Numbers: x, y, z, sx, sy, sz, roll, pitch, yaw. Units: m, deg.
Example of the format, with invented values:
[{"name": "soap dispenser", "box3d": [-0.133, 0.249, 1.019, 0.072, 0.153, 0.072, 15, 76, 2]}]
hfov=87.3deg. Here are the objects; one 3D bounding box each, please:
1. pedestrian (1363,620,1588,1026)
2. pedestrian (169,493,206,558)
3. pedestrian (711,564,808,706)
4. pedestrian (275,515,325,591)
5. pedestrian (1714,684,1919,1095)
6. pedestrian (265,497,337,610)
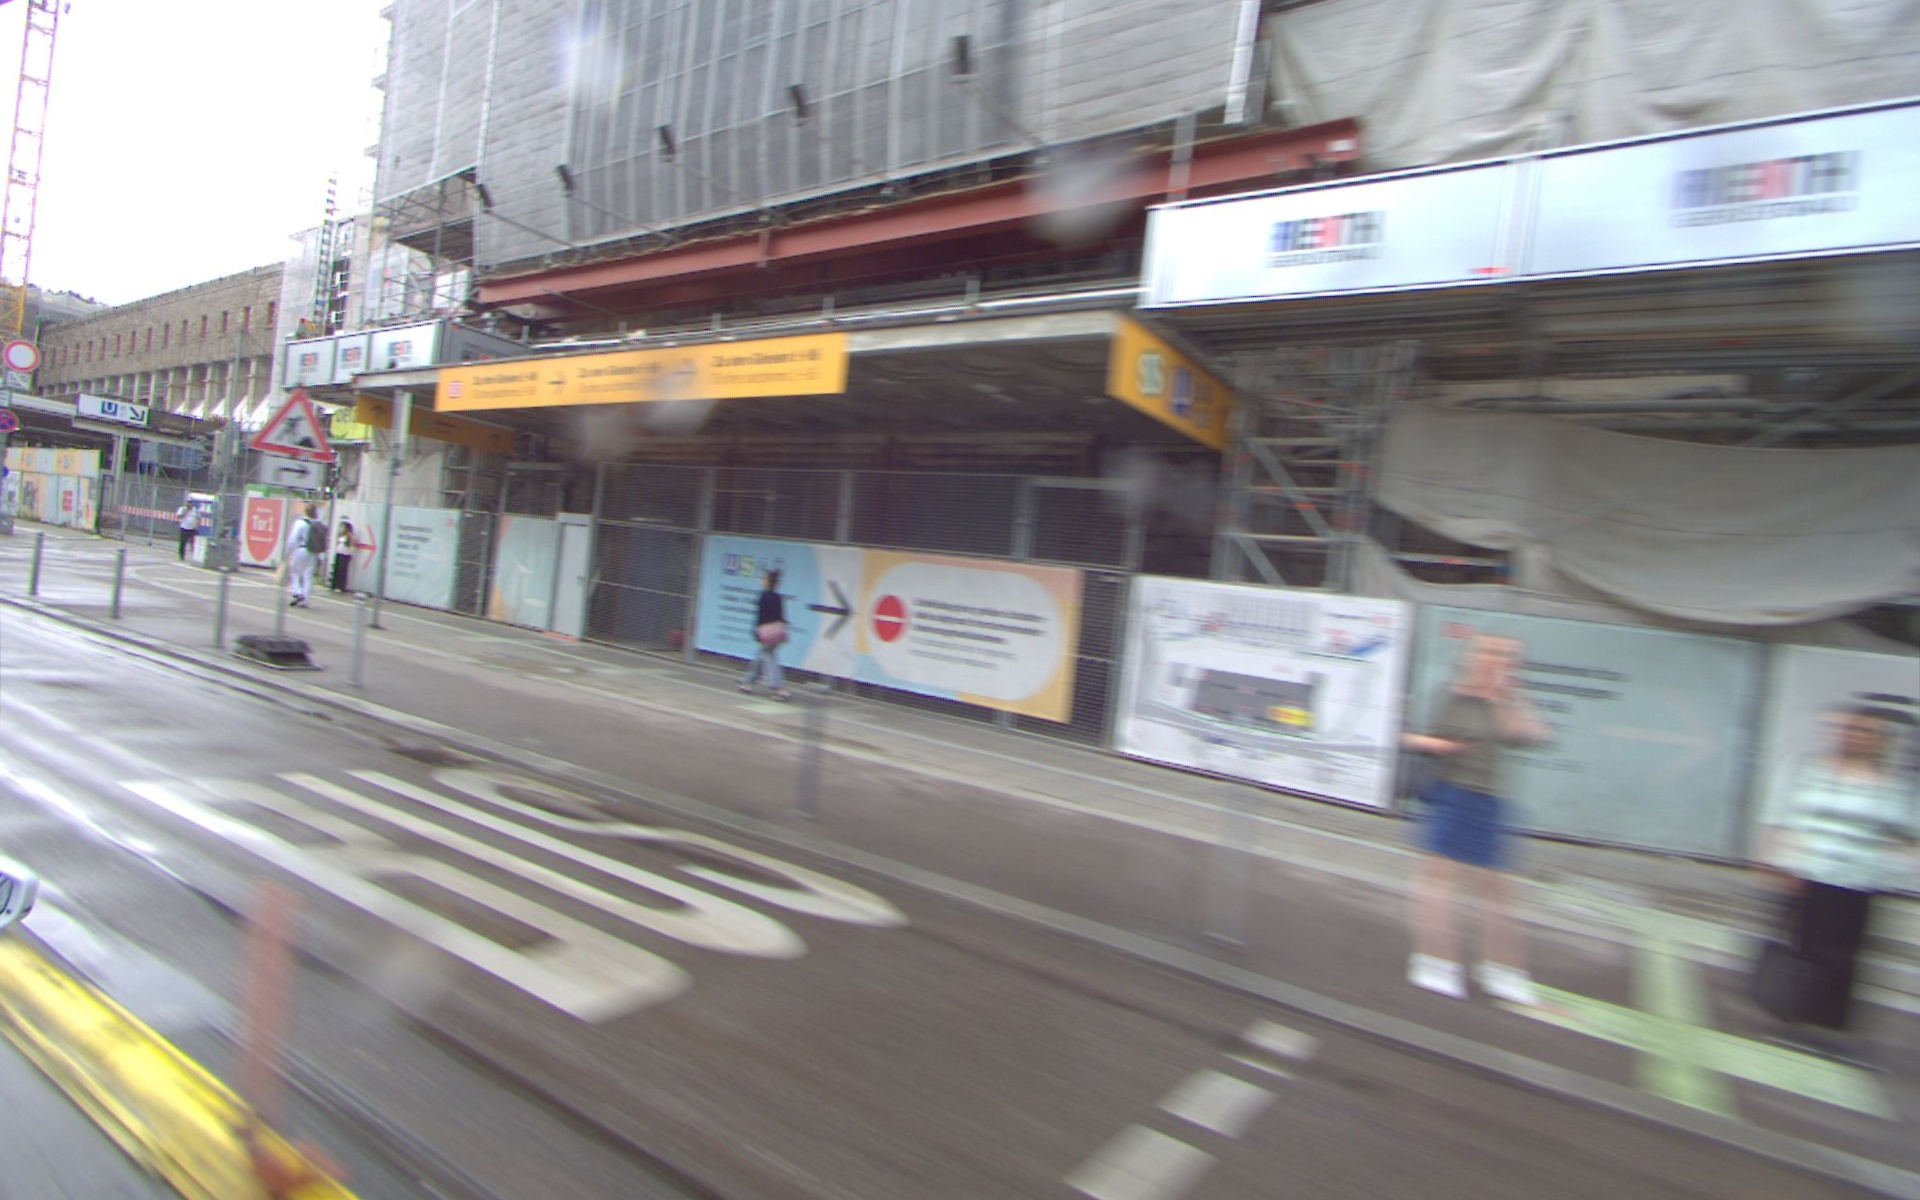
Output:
[{"name": "pedestrian", "box3d": [2.492, 1.028, 4.962, 0.738, 1.783, 0.559, 7, 3, 22]}, {"name": "pedestrian", "box3d": [-23.440, -2.259, 30.510, 0.648, 1.873, 0.644, 8, 4, 35]}, {"name": "pedestrian", "box3d": [-2.534, 0.428, 12.717, 0.980, 1.654, 0.549, 8, 4, 35]}, {"name": "pedestrian", "box3d": [-14.221, -1.007, 21.678, 0.655, 1.561, 0.650, 8, 4, 36]}, {"name": "pedestrian", "box3d": [4.110, 1.279, 4.705, 0.740, 1.663, 0.557, 8, 4, 36]}, {"name": "pedestrian", "box3d": [-11.540, -0.816, 17.629, 0.797, 1.873, 0.722, 8, 4, 35]}]
